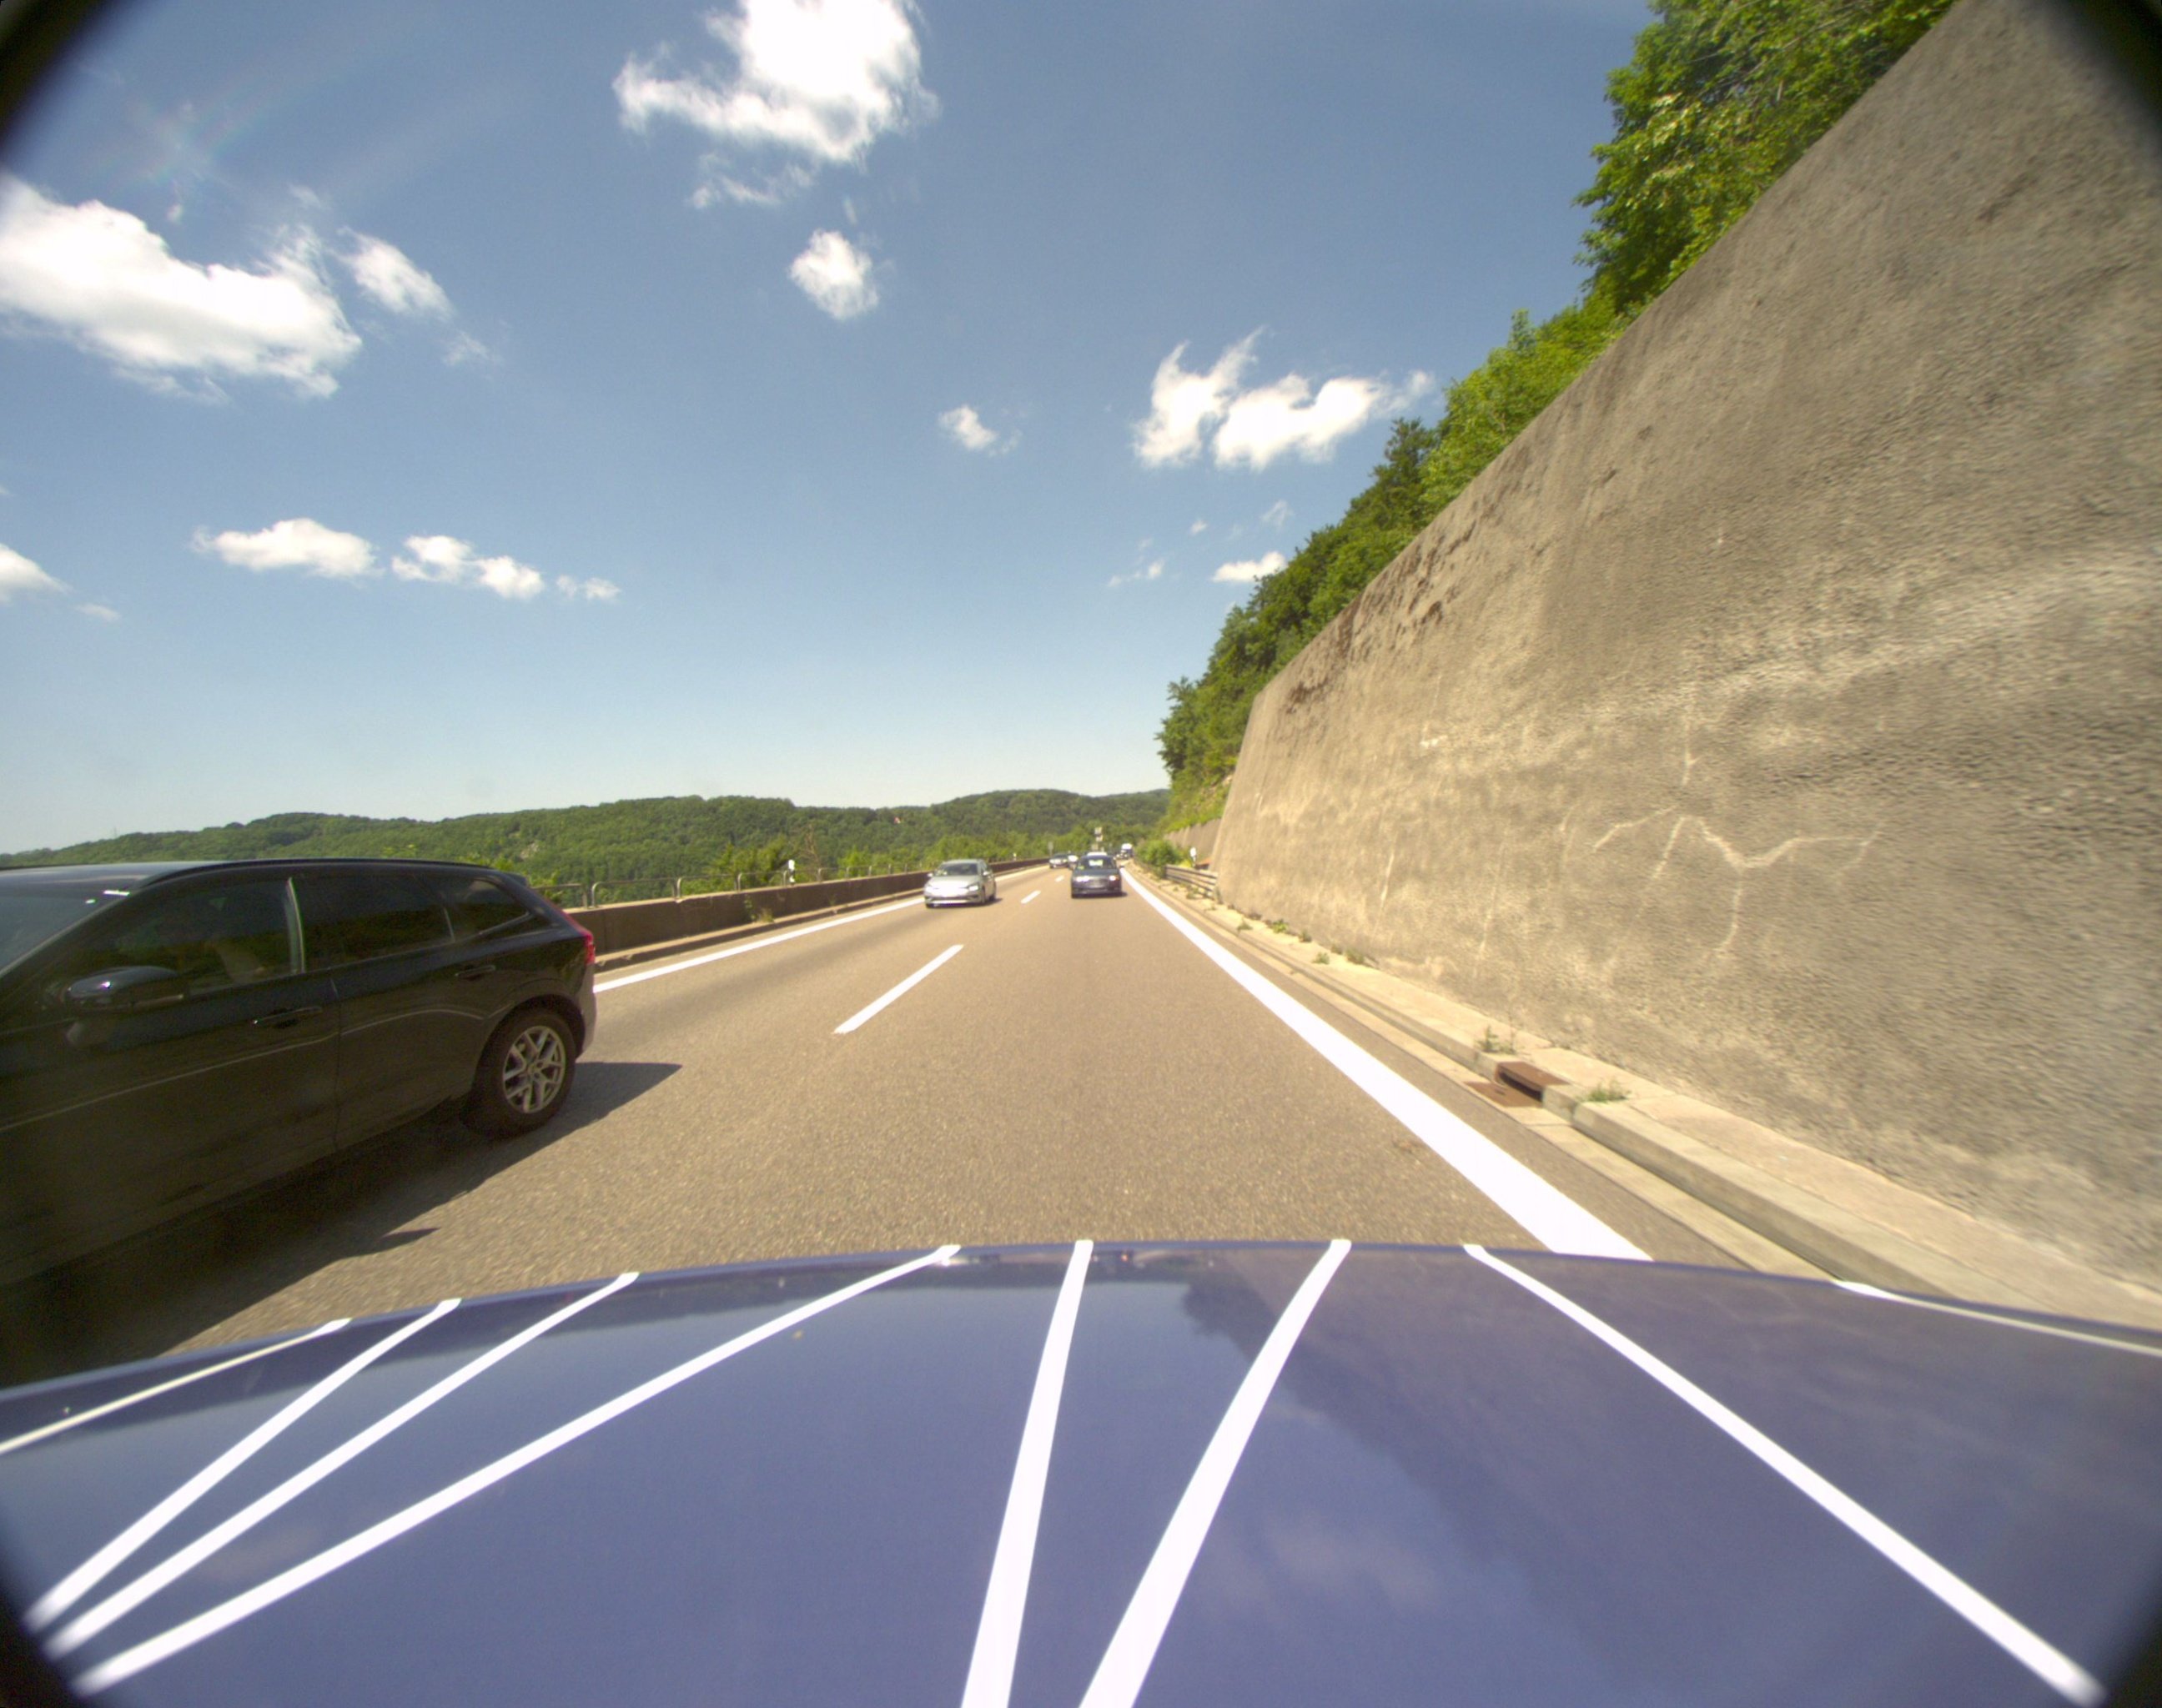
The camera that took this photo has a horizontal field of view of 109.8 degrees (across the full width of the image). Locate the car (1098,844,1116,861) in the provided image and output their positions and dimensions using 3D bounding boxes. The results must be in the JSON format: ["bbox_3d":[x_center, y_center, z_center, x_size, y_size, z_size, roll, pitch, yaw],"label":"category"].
[{"bbox_3d":[3.207,-0.180,92.161,1.998,2.002,4.001,-1,0,4],"label":"car"}]

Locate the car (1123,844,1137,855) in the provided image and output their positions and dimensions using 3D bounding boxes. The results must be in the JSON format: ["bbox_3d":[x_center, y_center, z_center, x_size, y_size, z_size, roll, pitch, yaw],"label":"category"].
[{"bbox_3d":[8.783,-0.801,136.621,1.997,2.002,4.003,-2,1,11],"label":"car"}]

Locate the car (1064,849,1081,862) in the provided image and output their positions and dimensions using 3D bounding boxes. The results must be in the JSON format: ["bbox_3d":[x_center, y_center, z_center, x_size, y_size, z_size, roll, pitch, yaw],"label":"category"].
[{"bbox_3d":[-1.084,0.123,97.245,1.775,1.565,4.001,-2,1,3],"label":"car"}]

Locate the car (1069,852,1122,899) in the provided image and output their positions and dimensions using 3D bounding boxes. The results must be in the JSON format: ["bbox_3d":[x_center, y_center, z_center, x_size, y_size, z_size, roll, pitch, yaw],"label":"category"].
[{"bbox_3d":[0.547,0.688,26.228,1.669,1.415,4.043,0,1,2],"label":"car"}]

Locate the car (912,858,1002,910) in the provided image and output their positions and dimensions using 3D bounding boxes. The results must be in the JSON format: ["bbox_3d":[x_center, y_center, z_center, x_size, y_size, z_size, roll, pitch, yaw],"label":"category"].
[{"bbox_3d":[-3.873,0.900,24.506,1.972,1.370,4.293,-1,1,3],"label":"car"}]

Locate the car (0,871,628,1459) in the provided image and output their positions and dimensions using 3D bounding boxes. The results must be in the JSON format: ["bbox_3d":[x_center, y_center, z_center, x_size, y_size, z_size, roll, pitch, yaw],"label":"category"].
[{"bbox_3d":[-4.109,0.999,2.841,1.839,1.624,4.662,-3,1,2],"label":"car"}]

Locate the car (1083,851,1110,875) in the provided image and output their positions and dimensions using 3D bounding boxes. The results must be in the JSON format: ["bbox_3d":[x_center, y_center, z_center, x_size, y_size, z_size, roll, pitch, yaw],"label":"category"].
[{"bbox_3d":[1.081,0.570,51.109,1.703,1.432,4.043,-1,1,2],"label":"car"}]

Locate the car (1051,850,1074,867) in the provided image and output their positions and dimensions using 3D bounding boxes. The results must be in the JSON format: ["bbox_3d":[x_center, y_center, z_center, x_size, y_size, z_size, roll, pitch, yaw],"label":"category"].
[{"bbox_3d":[-1.801,0.421,75.888,1.875,1.565,4.001,-2,1,4],"label":"car"}]

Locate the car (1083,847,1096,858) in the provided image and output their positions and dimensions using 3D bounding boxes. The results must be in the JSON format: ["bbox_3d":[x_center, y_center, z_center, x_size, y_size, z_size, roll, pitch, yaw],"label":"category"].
[{"bbox_3d":[1.304,-0.274,113.283,1.775,1.565,4.001,-2,1,3],"label":"car"}]

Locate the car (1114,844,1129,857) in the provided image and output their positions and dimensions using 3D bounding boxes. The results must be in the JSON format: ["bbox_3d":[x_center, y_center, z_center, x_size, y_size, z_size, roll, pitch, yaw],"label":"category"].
[{"bbox_3d":[6.782,-0.649,126.197,1.997,2.002,4.003,-2,1,10],"label":"car"}]
